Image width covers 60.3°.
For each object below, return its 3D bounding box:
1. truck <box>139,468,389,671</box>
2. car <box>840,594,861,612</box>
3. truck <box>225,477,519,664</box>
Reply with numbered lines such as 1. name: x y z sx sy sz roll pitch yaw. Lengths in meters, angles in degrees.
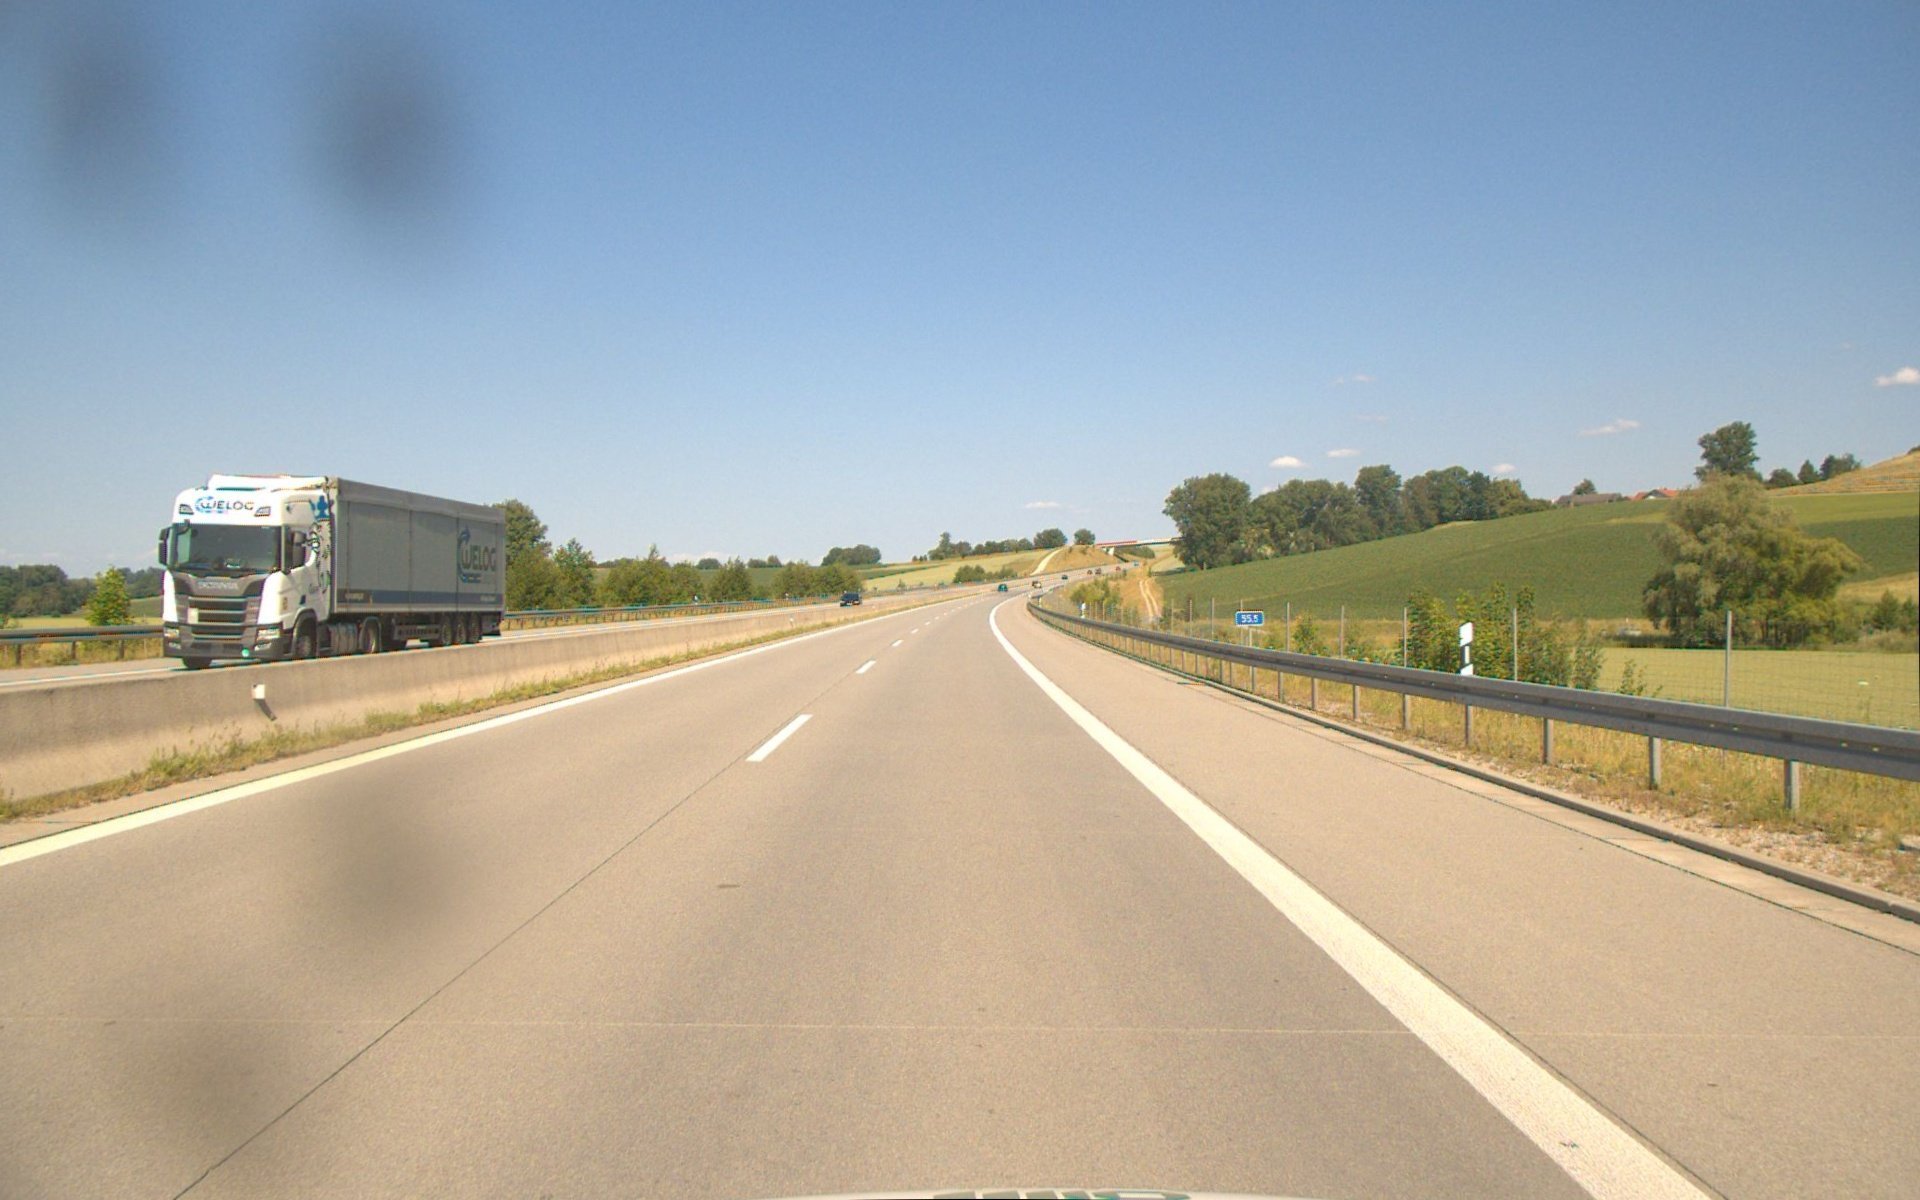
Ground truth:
1. truck: -14.650 -0.596 35.343 2.802 3.941 5.982 0 0 0
2. car: -10.231 0.257 154.326 1.676 1.617 4.626 1 0 -1
3. truck: -14.708 -0.641 43.090 2.801 4.078 13.866 0 0 -1
